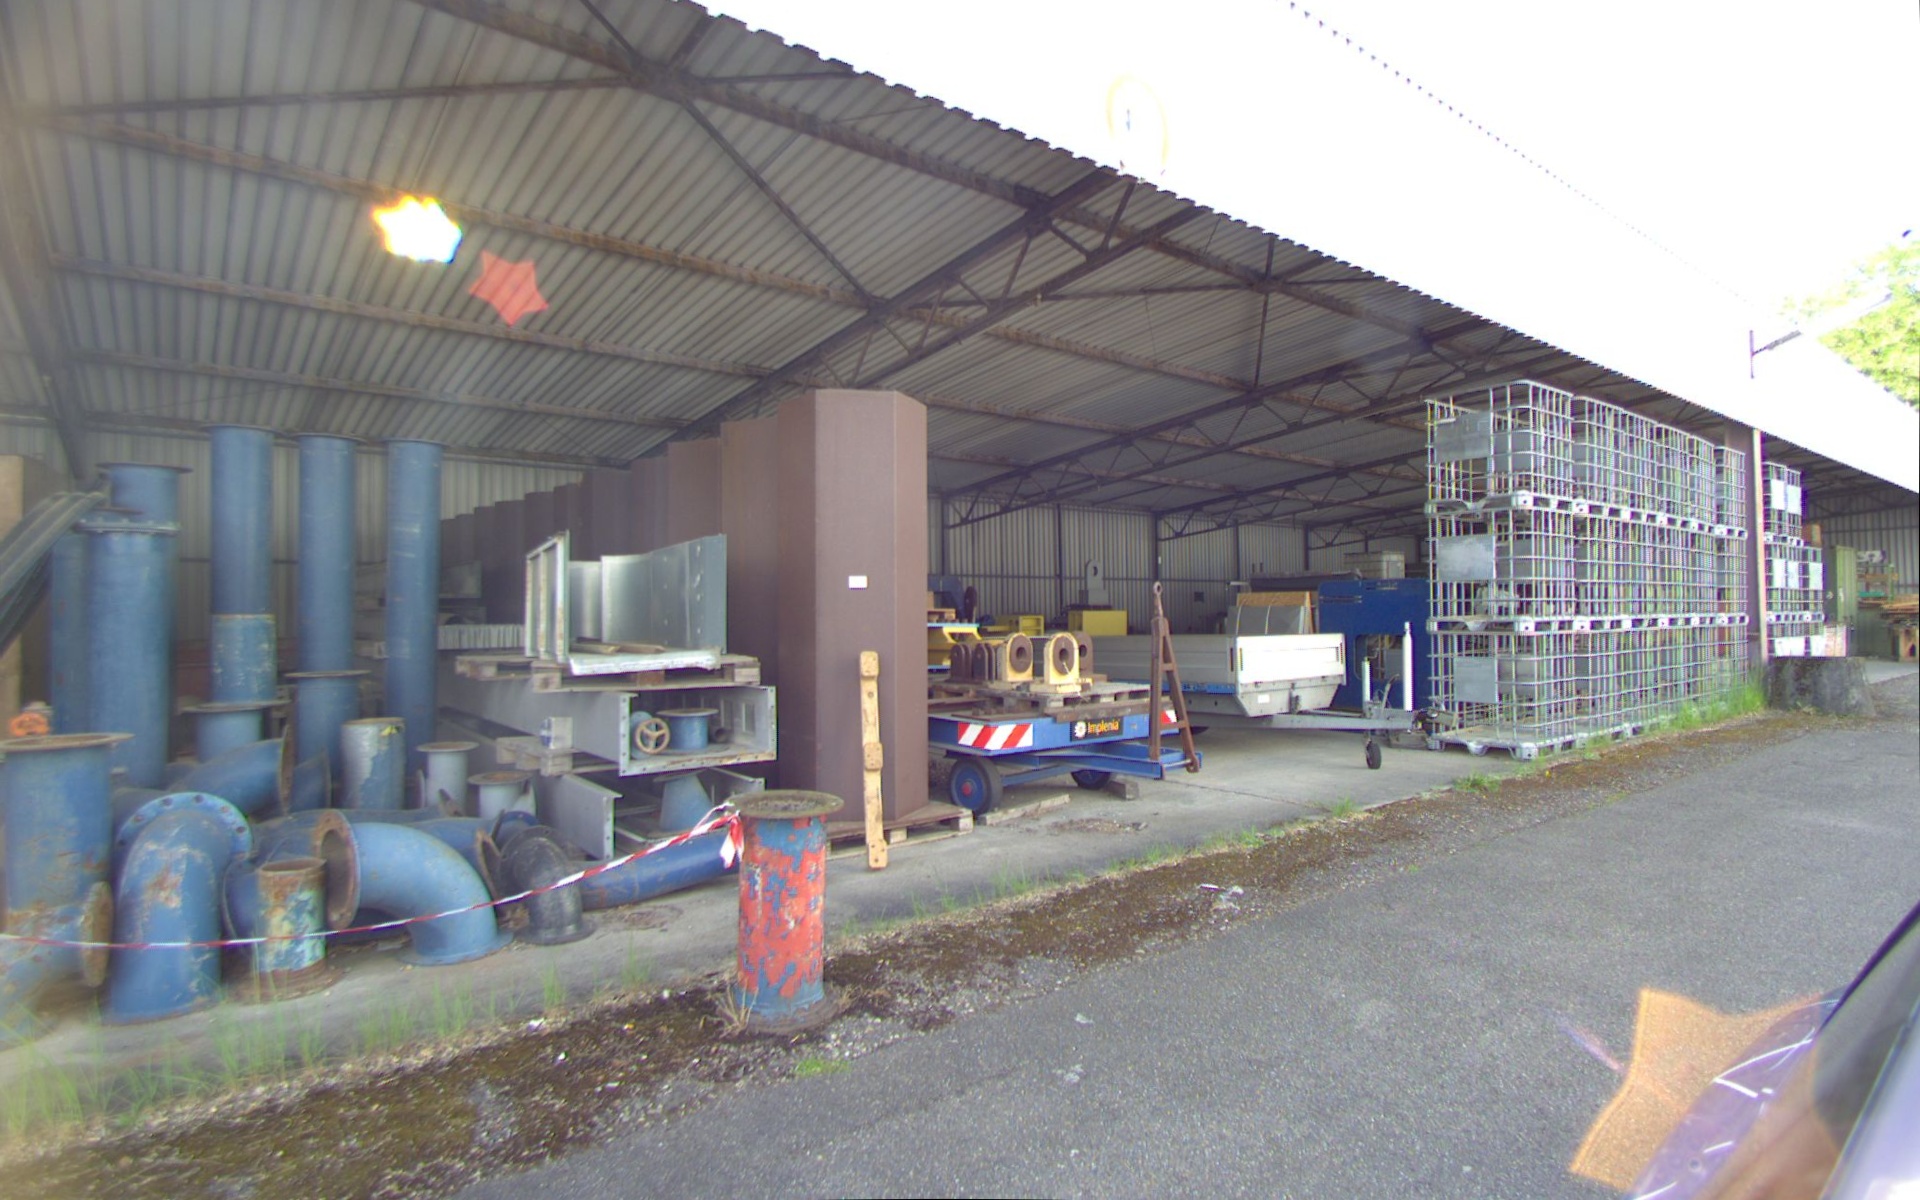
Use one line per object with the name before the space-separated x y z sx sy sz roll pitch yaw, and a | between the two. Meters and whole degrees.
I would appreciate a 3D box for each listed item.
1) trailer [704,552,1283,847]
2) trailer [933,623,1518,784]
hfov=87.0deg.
trailer | -0.091 0.577 8.205 1.993 1.649 4.877 0 -1 -39
trailer | 2.286 0.843 10.497 1.993 1.134 5.834 0 -1 -39
